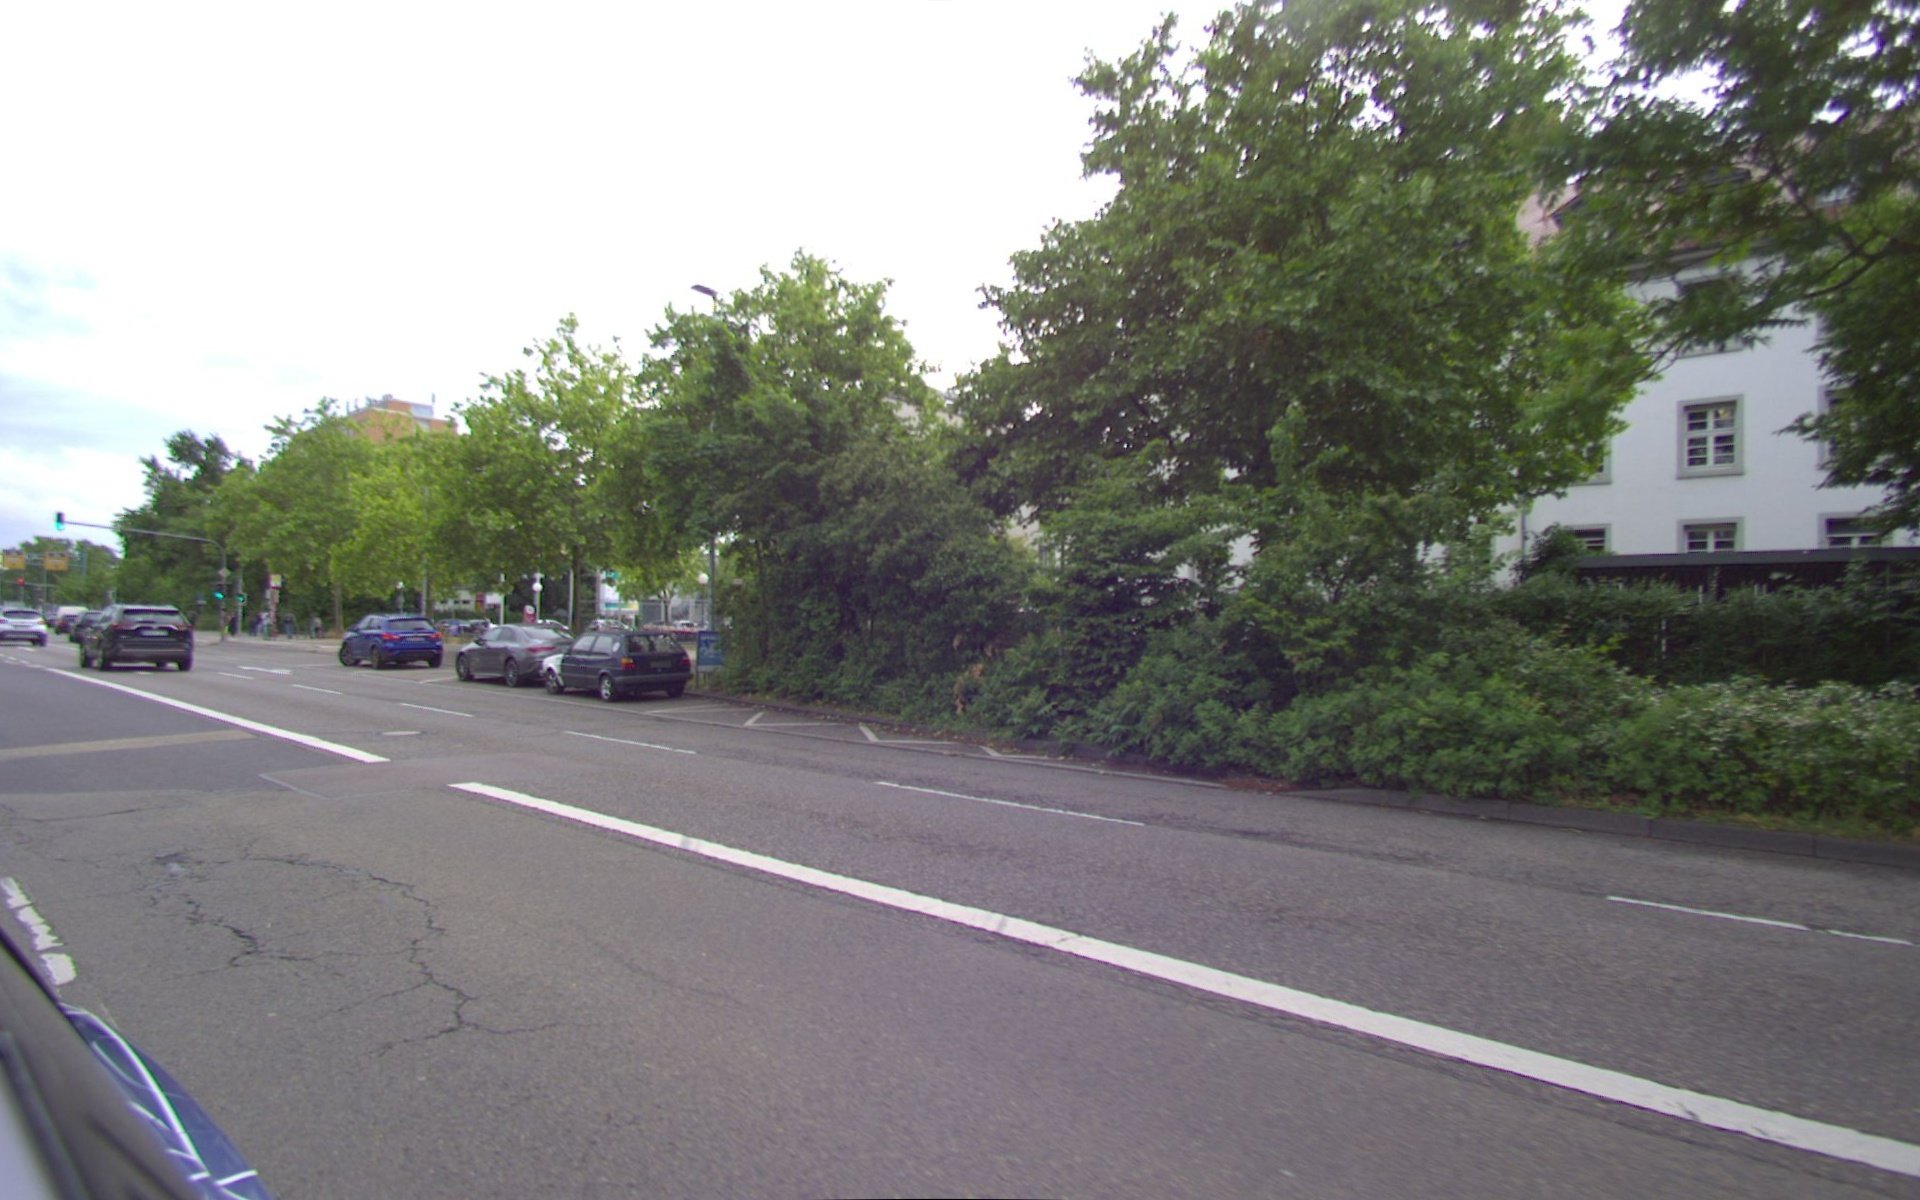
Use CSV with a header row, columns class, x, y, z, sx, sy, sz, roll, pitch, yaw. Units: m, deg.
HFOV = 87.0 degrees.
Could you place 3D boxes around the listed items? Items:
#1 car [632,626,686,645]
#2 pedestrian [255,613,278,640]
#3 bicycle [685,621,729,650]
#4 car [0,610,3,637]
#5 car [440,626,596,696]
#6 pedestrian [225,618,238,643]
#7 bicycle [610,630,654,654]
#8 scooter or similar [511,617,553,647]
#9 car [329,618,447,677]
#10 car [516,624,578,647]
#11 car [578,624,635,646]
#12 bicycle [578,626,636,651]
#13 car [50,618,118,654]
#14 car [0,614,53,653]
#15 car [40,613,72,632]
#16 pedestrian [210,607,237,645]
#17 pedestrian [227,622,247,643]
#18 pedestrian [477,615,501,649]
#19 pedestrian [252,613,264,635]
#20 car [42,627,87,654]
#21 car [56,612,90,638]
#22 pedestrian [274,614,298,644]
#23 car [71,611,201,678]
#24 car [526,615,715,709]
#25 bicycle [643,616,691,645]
class,x,y,z,sx,sy,sz,roll,pitch,yaw
car,-25.278,3.020,85.193,1.888,1.565,3.944,-1,-3,41
pedestrian,-53.183,2.012,77.614,1.088,2.029,1.038,-1,-1,10
bicycle,-13.943,1.948,55.882,0.919,1.571,2.426,0,-2,31
car,-63.459,1.506,65.439,4.947,1.700,1.972,-1,-1,43
car,-10.700,1.382,24.322,1.852,1.435,4.731,-1,0,-45
pedestrian,-50.465,2.117,70.115,0.653,1.708,0.583,-1,-3,44
bicycle,-18.948,2.438,58.506,0.720,1.364,2.461,-1,-3,37
scooter or similar,-18.602,1.404,43.974,0.566,1.253,1.558,-1,-3,41
car,-17.308,1.360,30.533,4.593,1.620,1.838,-1,-1,43
car,-31.671,2.701,77.590,1.998,1.592,3.946,-1,-1,40
car,-28.440,2.847,81.592,1.852,1.696,3.946,-1,-3,40
bicycle,-17.256,1.873,49.505,0.720,1.183,2.720,-1,-3,37
car,-44.209,1.809,51.029,4.466,1.707,1.972,-1,-3,42
car,-40.414,1.408,43.206,4.178,1.558,1.972,-1,-4,42
car,-79.525,1.990,89.050,1.969,1.632,4.005,3,-3,-42
pedestrian,-39.191,1.392,53.823,1.009,2.029,0.885,-1,-3,40
pedestrian,-52.237,2.342,73.101,0.990,1.439,0.697,-1,-1,14
pedestrian,-28.967,1.963,62.282,1.091,2.029,0.788,0,-2,25
pedestrian,-53.956,1.829,77.760,0.600,1.618,0.498,0,1,30
car,-59.644,2.686,67.383,3.998,1.702,1.680,-1,-3,42
car,-65.211,1.801,74.386,1.751,1.862,4.492,0,-1,-44
pedestrian,-41.175,1.757,61.818,0.934,1.817,0.886,-1,-3,38
car,-21.407,1.113,26.233,4.515,1.605,1.883,-1,-3,42
car,-7.068,1.177,20.929,3.998,1.702,1.973,-1,0,42
bicycle,-16.464,1.743,56.931,0.919,1.571,2.639,0,-2,31
